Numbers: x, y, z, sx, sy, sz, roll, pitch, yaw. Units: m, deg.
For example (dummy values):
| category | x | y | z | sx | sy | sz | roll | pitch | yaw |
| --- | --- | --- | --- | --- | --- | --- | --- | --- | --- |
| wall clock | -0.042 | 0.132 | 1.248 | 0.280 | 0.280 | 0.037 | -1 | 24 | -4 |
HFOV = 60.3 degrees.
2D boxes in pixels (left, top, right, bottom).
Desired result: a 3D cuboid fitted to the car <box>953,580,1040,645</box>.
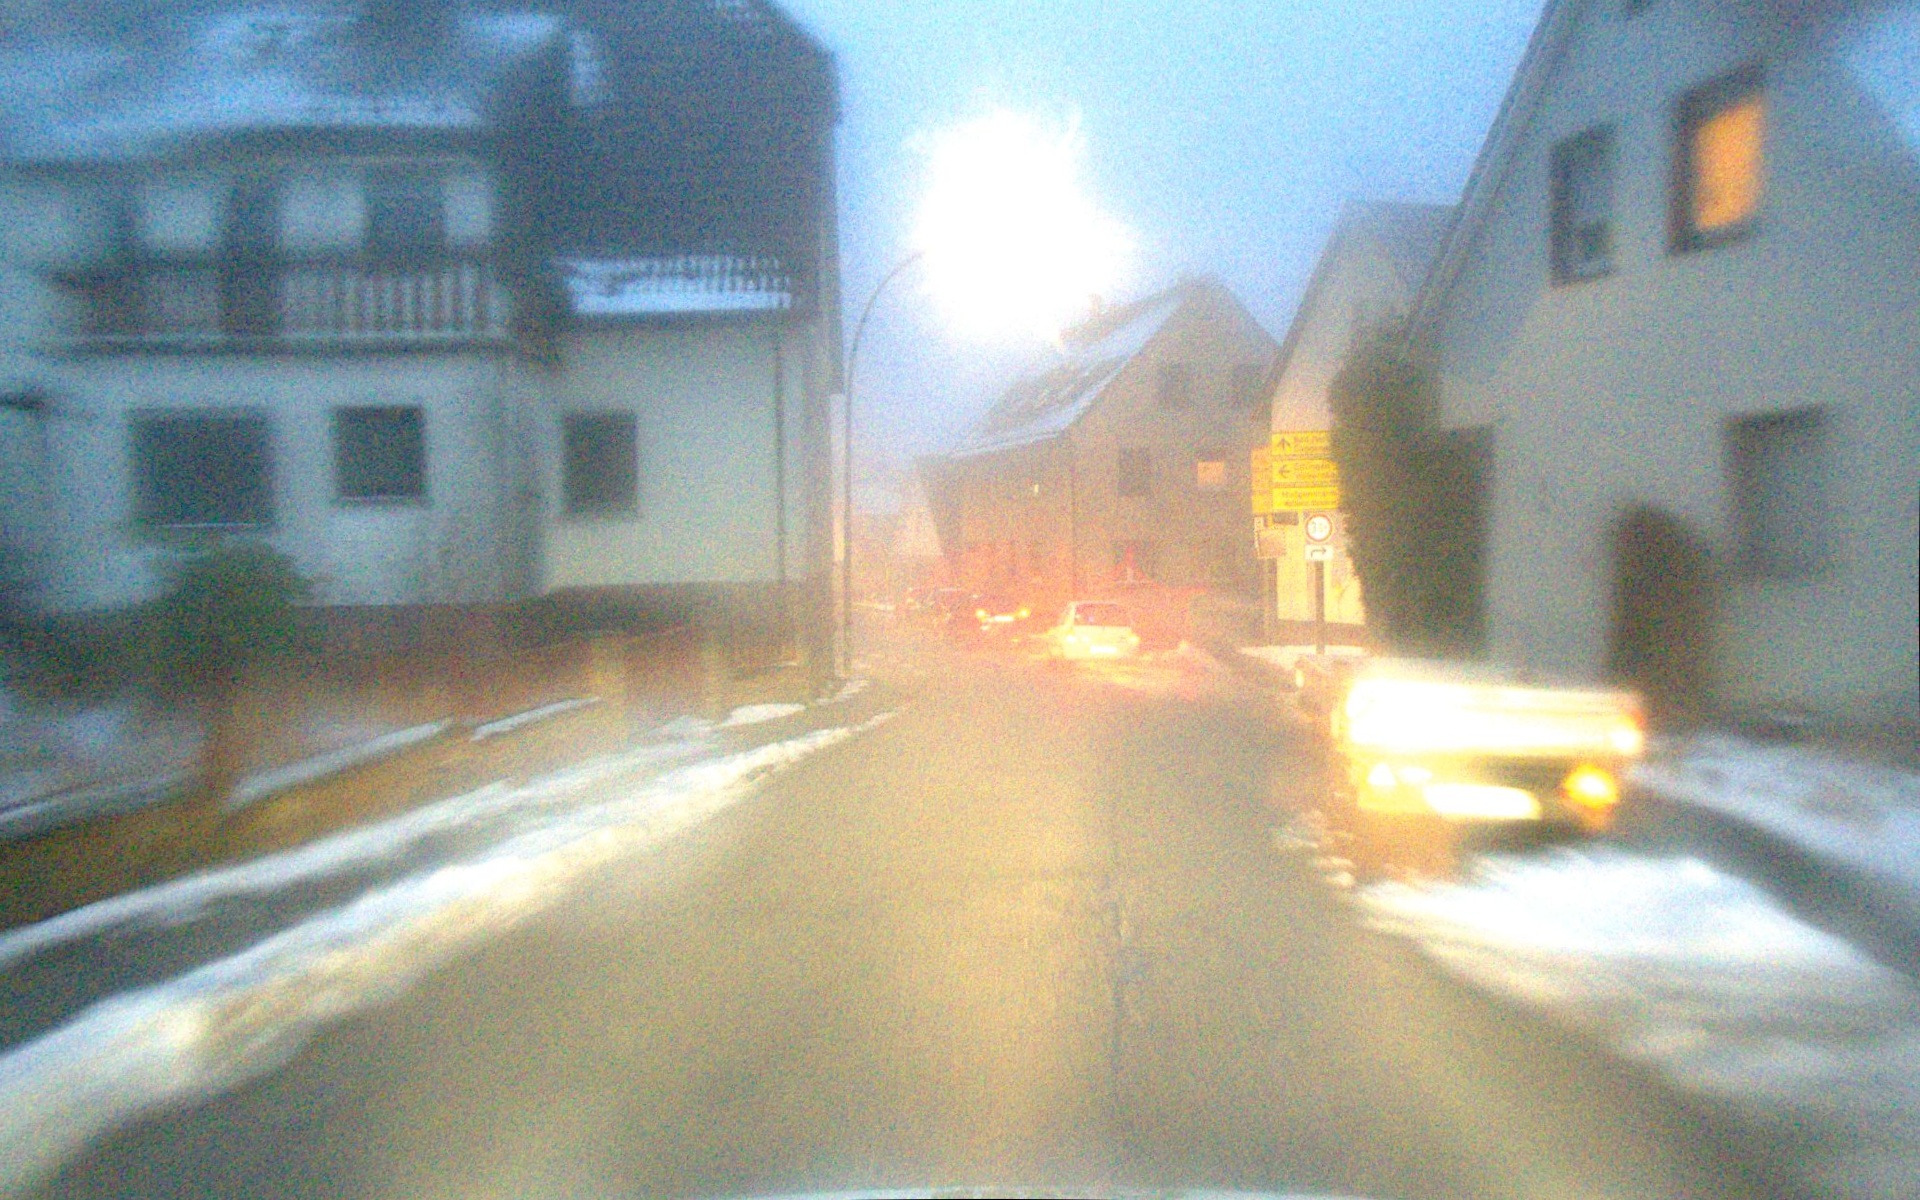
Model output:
| category | x | y | z | sx | sy | sz | roll | pitch | yaw |
| --- | --- | --- | --- | --- | --- | --- | --- | --- | --- |
| car | 1.000 | 0.372 | 47.703 | 1.955 | 1.758 | 3.994 | 1 | -1 | -7 |

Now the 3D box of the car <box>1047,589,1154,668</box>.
| category | x | y | z | sx | sy | sz | roll | pitch | yaw |
| --- | --- | --- | --- | --- | --- | --- | --- | --- | --- |
| car | 2.871 | 0.591 | 34.516 | 1.952 | 1.534 | 4.000 | 1 | -1 | 1 |

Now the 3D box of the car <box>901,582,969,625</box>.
| category | x | y | z | sx | sy | sz | roll | pitch | yaw |
| --- | --- | --- | --- | --- | --- | --- | --- | --- | --- |
| car | -0.985 | 0.120 | 62.207 | 1.876 | 1.507 | 4.272 | -1 | 1 | -10 |

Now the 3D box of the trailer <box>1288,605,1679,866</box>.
| category | x | y | z | sx | sy | sz | roll | pitch | yaw |
| --- | --- | --- | --- | --- | --- | --- | --- | --- | --- |
| trailer | 3.463 | 0.777 | 11.863 | 1.951 | 1.412 | 4.735 | 1 | 0 | 9 |
